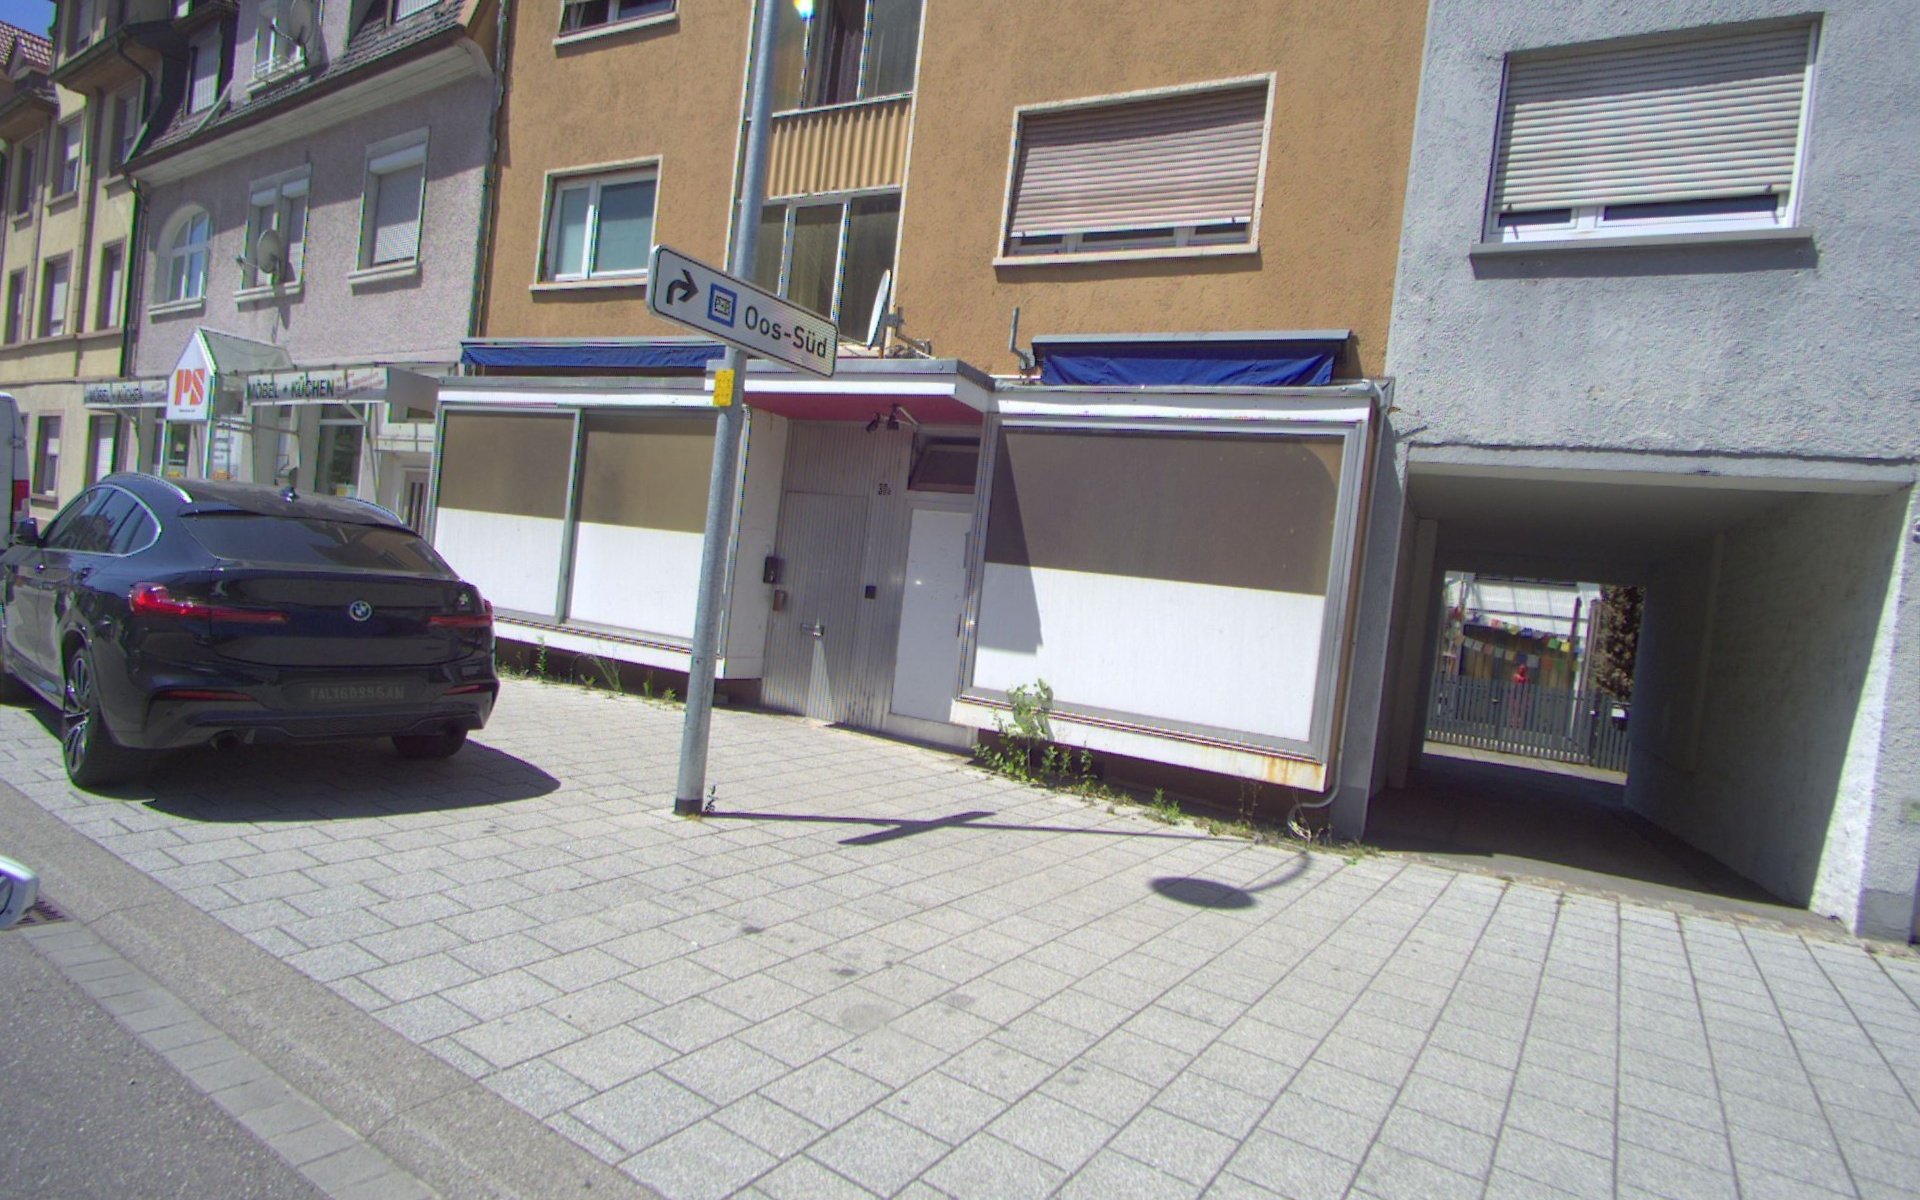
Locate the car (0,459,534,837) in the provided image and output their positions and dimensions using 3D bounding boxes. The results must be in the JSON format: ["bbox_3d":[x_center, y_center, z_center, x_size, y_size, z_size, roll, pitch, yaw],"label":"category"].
[{"bbox_3d":[-4.744,0.075,6.408,4.301,1.629,1.892,6,2,39],"label":"car"}]

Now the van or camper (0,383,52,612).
[{"bbox_3d":[-13.860,-1.486,12.579,5.670,2.623,2.165,7,2,32],"label":"van or camper"}]
